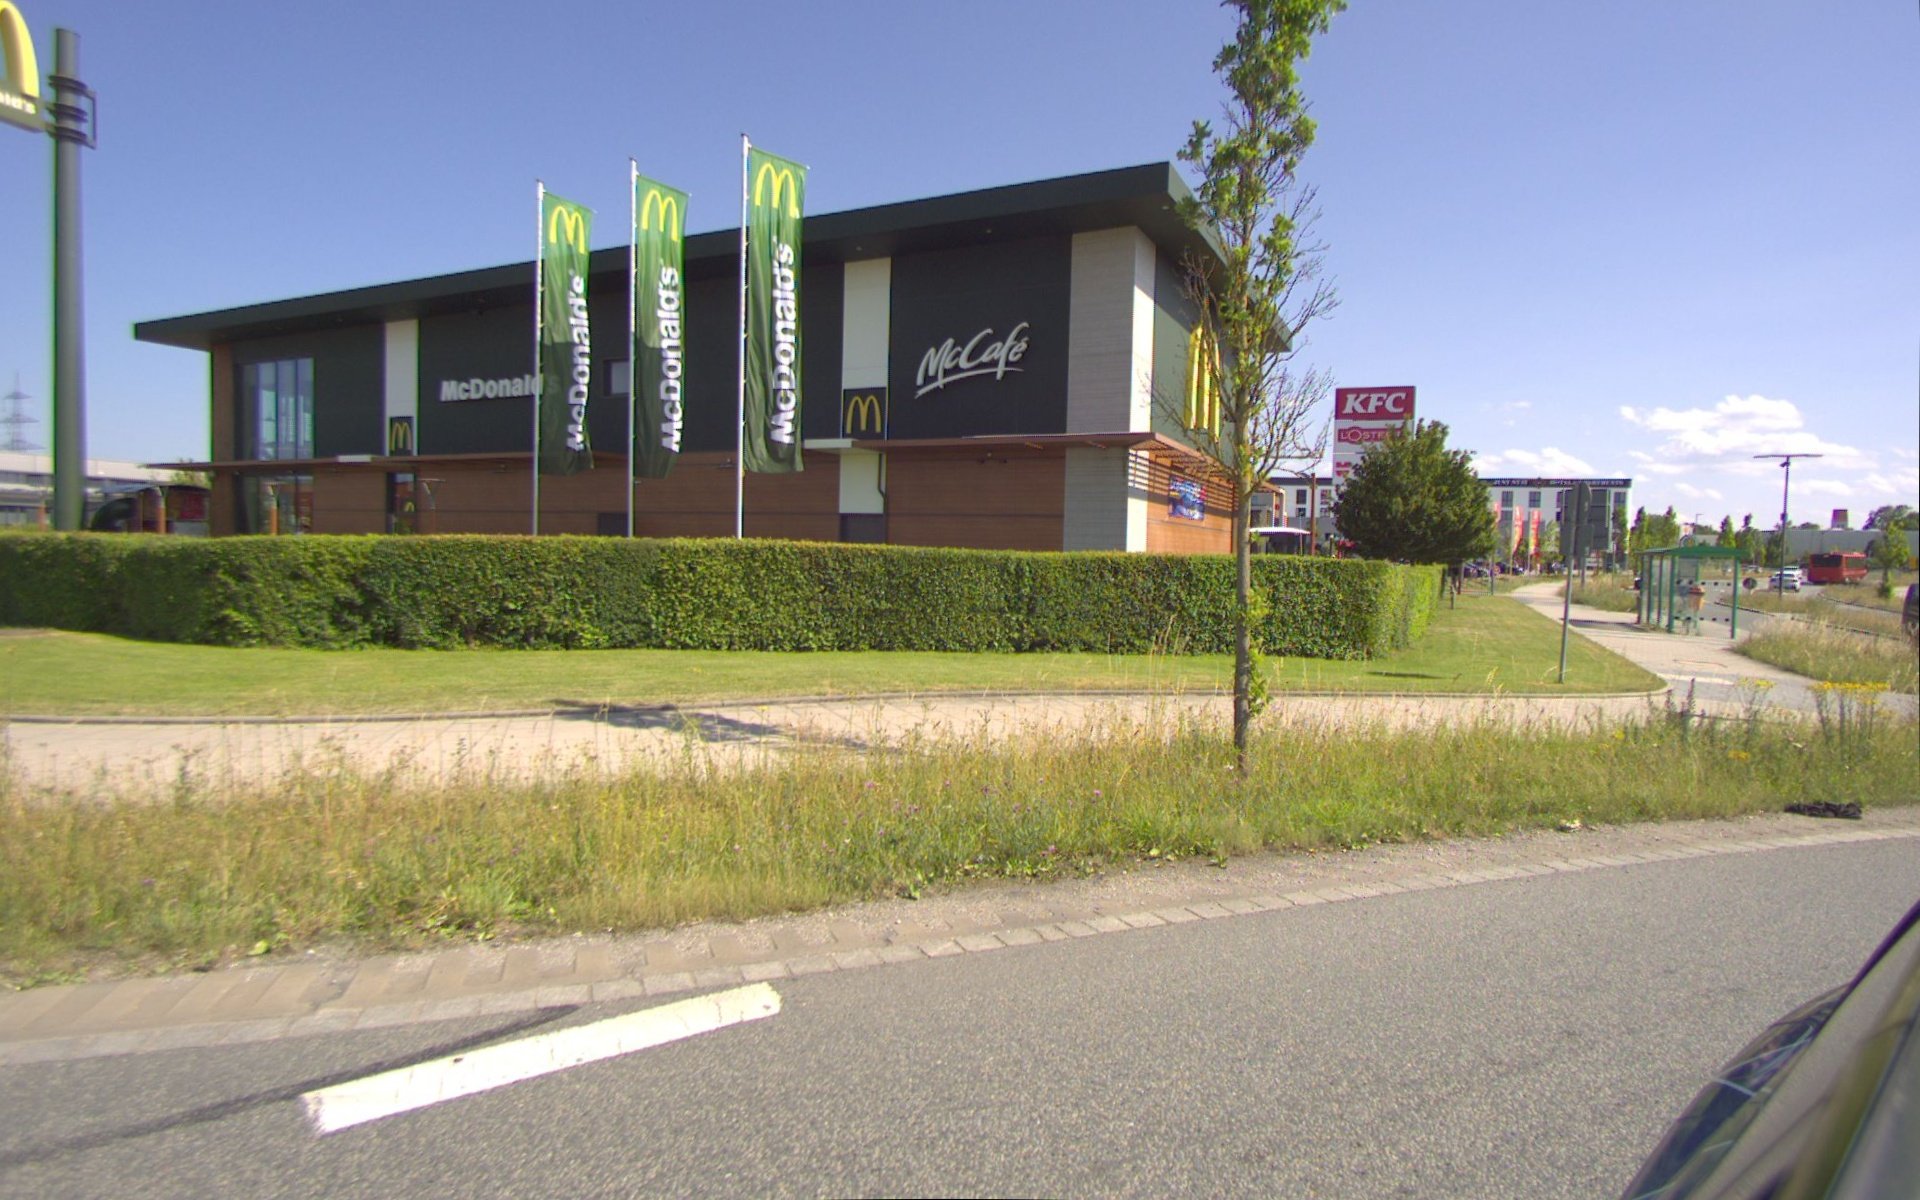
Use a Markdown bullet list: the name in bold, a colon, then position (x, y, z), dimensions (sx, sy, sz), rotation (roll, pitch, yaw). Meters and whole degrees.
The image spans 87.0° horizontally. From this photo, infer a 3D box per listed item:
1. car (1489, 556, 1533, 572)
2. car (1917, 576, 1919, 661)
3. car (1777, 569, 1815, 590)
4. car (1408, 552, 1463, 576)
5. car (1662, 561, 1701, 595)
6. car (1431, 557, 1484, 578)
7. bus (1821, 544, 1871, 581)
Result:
- **car**: position (57.952, -3.794, 106.488), dimensions (3.809, 1.639, 1.732), rotation (4, 4, 40)
- **car**: position (23.295, 0.538, 22.286), dimensions (2.062, 2.073, 4.638), rotation (0, 2, 28)
- **car**: position (61.293, -1.545, 74.134), dimensions (1.792, 1.433, 4.313), rotation (3, 3, 44)
- **car**: position (43.097, -3.250, 91.730), dimensions (4.170, 2.038, 1.905), rotation (4, 4, 41)
- **car**: position (43.112, -1.360, 60.531), dimensions (1.719, 1.927, 3.952), rotation (3, 3, 34)
- **car**: position (47.286, -3.127, 96.274), dimensions (4.176, 1.880, 1.774), rotation (4, 4, 45)
- **bus**: position (82.981, -3.453, 94.708), dimensions (11.688, 3.281, 2.611), rotation (-1, 3, -45)
